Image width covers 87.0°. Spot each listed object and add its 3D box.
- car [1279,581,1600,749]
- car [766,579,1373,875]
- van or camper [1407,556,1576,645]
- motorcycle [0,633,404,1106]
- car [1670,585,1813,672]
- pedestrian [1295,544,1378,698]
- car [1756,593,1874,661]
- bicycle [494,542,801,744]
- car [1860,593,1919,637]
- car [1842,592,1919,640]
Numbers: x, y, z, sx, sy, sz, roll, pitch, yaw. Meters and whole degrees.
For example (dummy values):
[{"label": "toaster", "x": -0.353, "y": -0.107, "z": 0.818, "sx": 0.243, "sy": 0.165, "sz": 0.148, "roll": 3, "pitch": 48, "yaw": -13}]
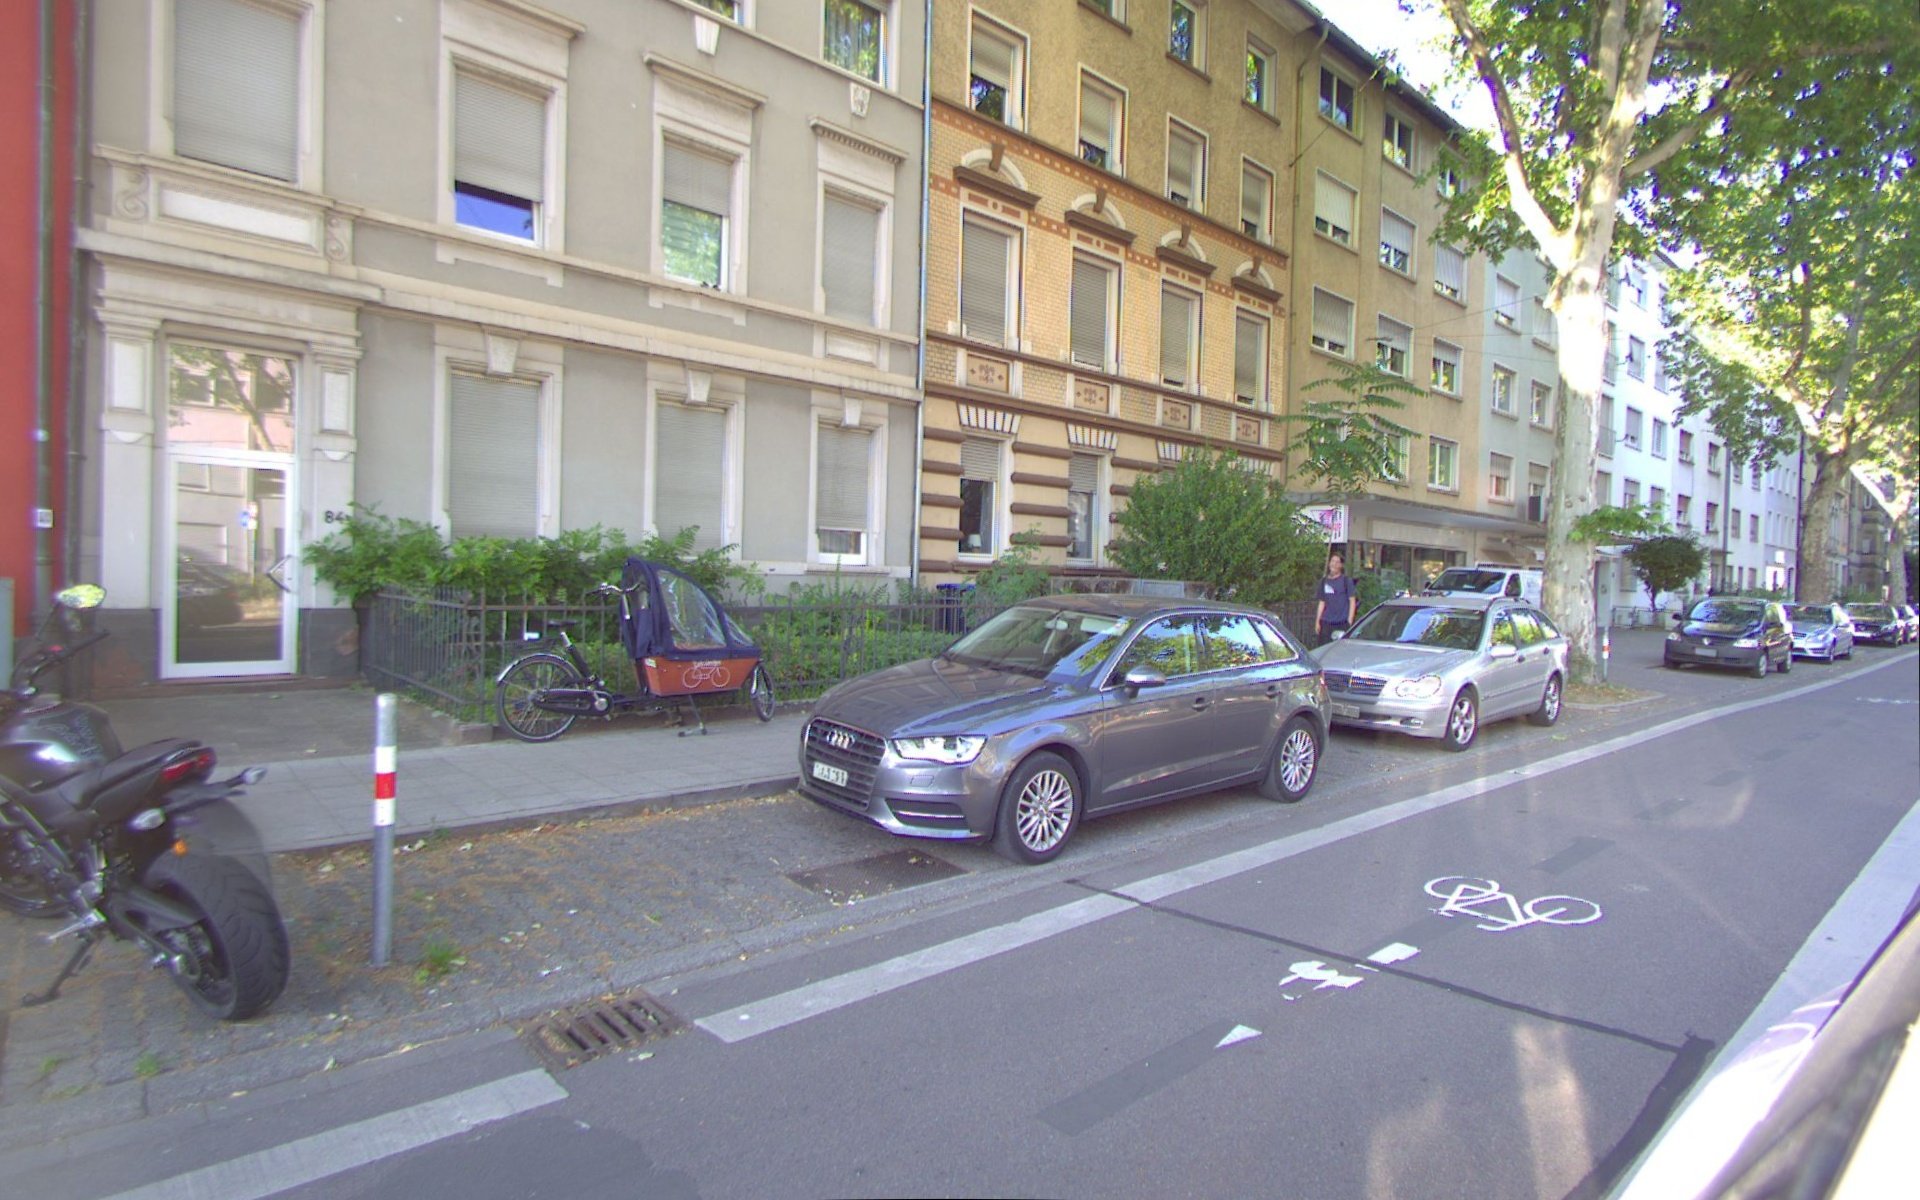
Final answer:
[{"label": "car", "x": 5.460, "y": 0.564, "z": 11.214, "sx": 4.494, "sy": 1.469, "sz": 1.676, "roll": 0, "pitch": 2, "yaw": -43}, {"label": "car", "x": 0.972, "y": 0.606, "z": 6.986, "sx": 4.245, "sy": 1.414, "sz": 1.714, "roll": 0, "pitch": 2, "yaw": -41}, {"label": "van or camper", "x": 13.177, "y": -0.025, "z": 24.922, "sx": 5.299, "sy": 1.946, "sz": 1.945, "roll": 0, "pitch": 2, "yaw": -42}, {"label": "motorcycle", "x": -3.025, "y": 0.758, "z": 3.579, "sx": 2.193, "sy": 1.076, "sz": 0.760, "roll": 4, "pitch": 2, "yaw": 28}, {"label": "car", "x": 16.243, "y": 0.525, "z": 20.970, "sx": 3.932, "sy": 1.564, "sz": 1.656, "roll": 0, "pitch": 2, "yaw": -42}, {"label": "pedestrian", "x": 5.227, "y": 0.262, "z": 14.033, "sx": 0.995, "sy": 2.038, "sz": 0.683, "roll": 0, "pitch": 2, "yaw": -45}, {"label": "car", "x": 21.997, "y": 0.627, "z": 25.964, "sx": 4.695, "sy": 1.561, "sz": 1.697, "roll": 0, "pitch": 2, "yaw": -42}, {"label": "bicycle", "x": -2.463, "y": 0.296, "z": 8.240, "sx": 2.354, "sy": 1.445, "sz": 0.608, "roll": 0, "pitch": 0, "yaw": -41}, {"label": "car", "x": 35.192, "y": 0.518, "z": 37.884, "sx": 4.289, "sy": 1.432, "sz": 1.712, "roll": 0, "pitch": 4, "yaw": -42}, {"label": "car", "x": 31.665, "y": 0.507, "z": 34.614, "sx": 4.289, "sy": 1.432, "sz": 1.712, "roll": 0, "pitch": 4, "yaw": -42}]
